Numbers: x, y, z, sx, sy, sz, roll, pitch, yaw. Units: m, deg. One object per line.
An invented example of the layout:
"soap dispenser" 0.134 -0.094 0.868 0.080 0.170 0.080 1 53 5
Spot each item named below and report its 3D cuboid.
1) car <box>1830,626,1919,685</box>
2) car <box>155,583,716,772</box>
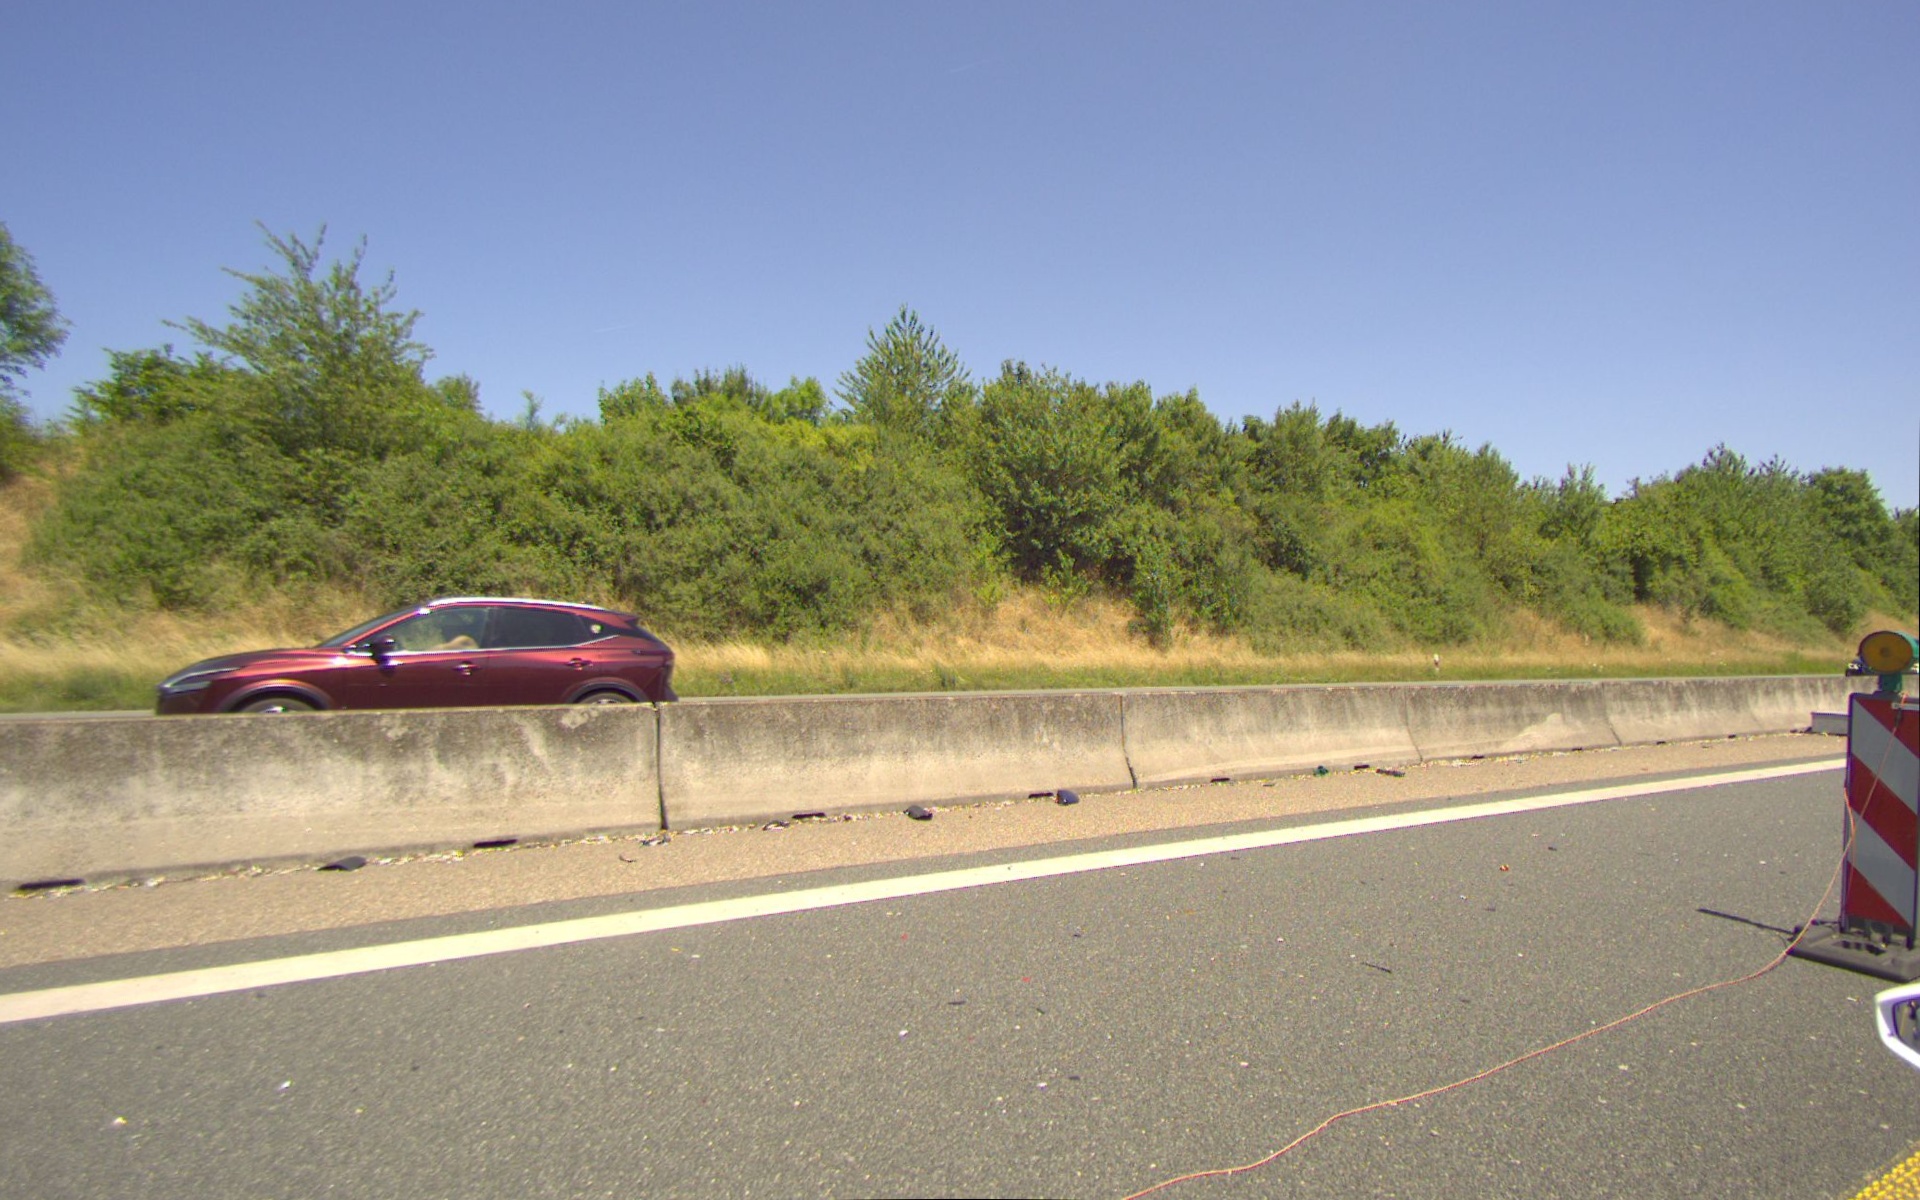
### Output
"car" 27.619 1.596 29.346 4.529 1.621 1.984 2 -2 -30
"car" -4.836 0.681 9.795 4.437 1.480 1.839 2 -2 -31
